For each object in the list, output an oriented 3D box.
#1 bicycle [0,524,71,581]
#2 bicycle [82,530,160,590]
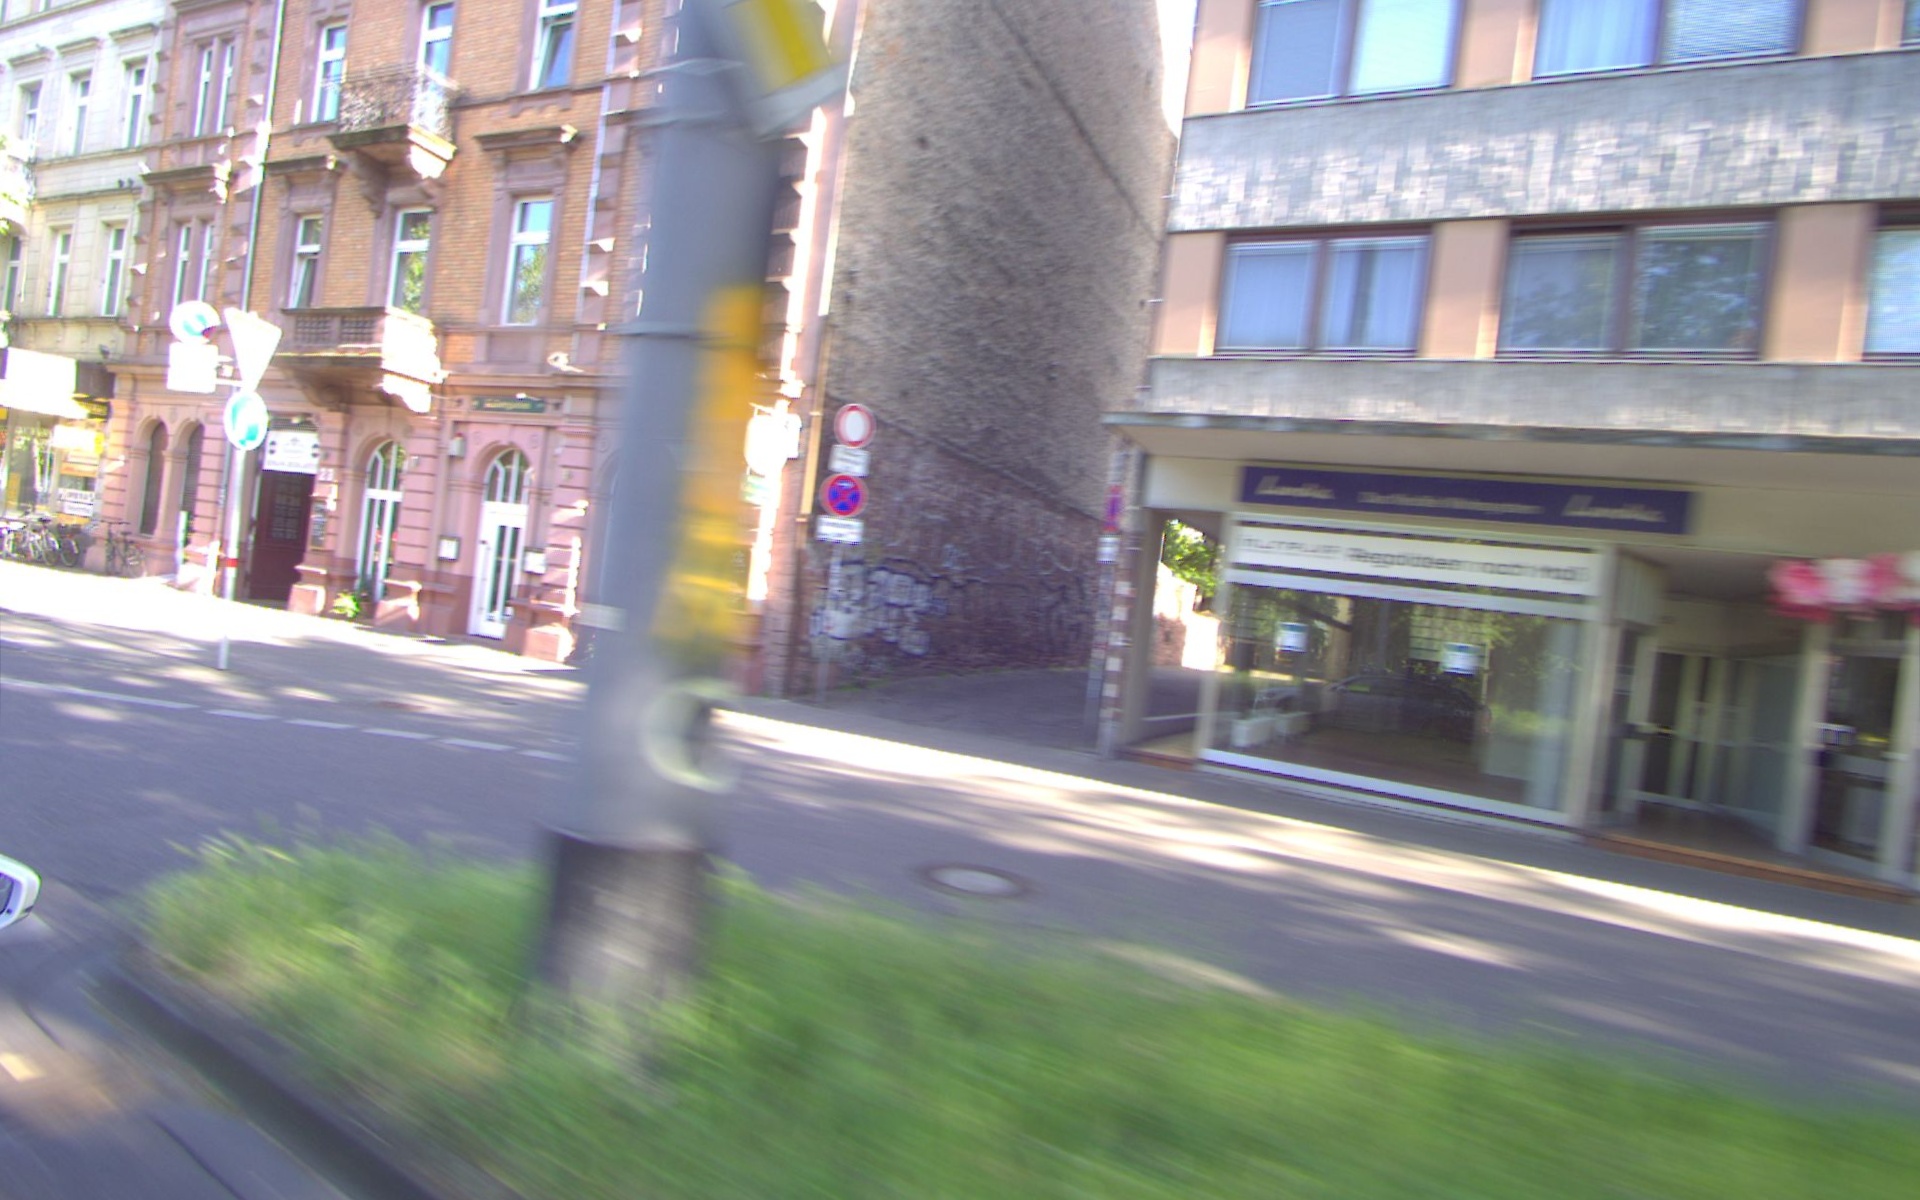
[{"bbox_3d":[-19.766,-1.015,21.474,1.658,1.004,0.444,7,-2,25],"label":"bicycle"},{"bbox_3d":[-17.094,-0.817,20.488,1.658,1.004,0.444,7,-2,25],"label":"bicycle"}]
